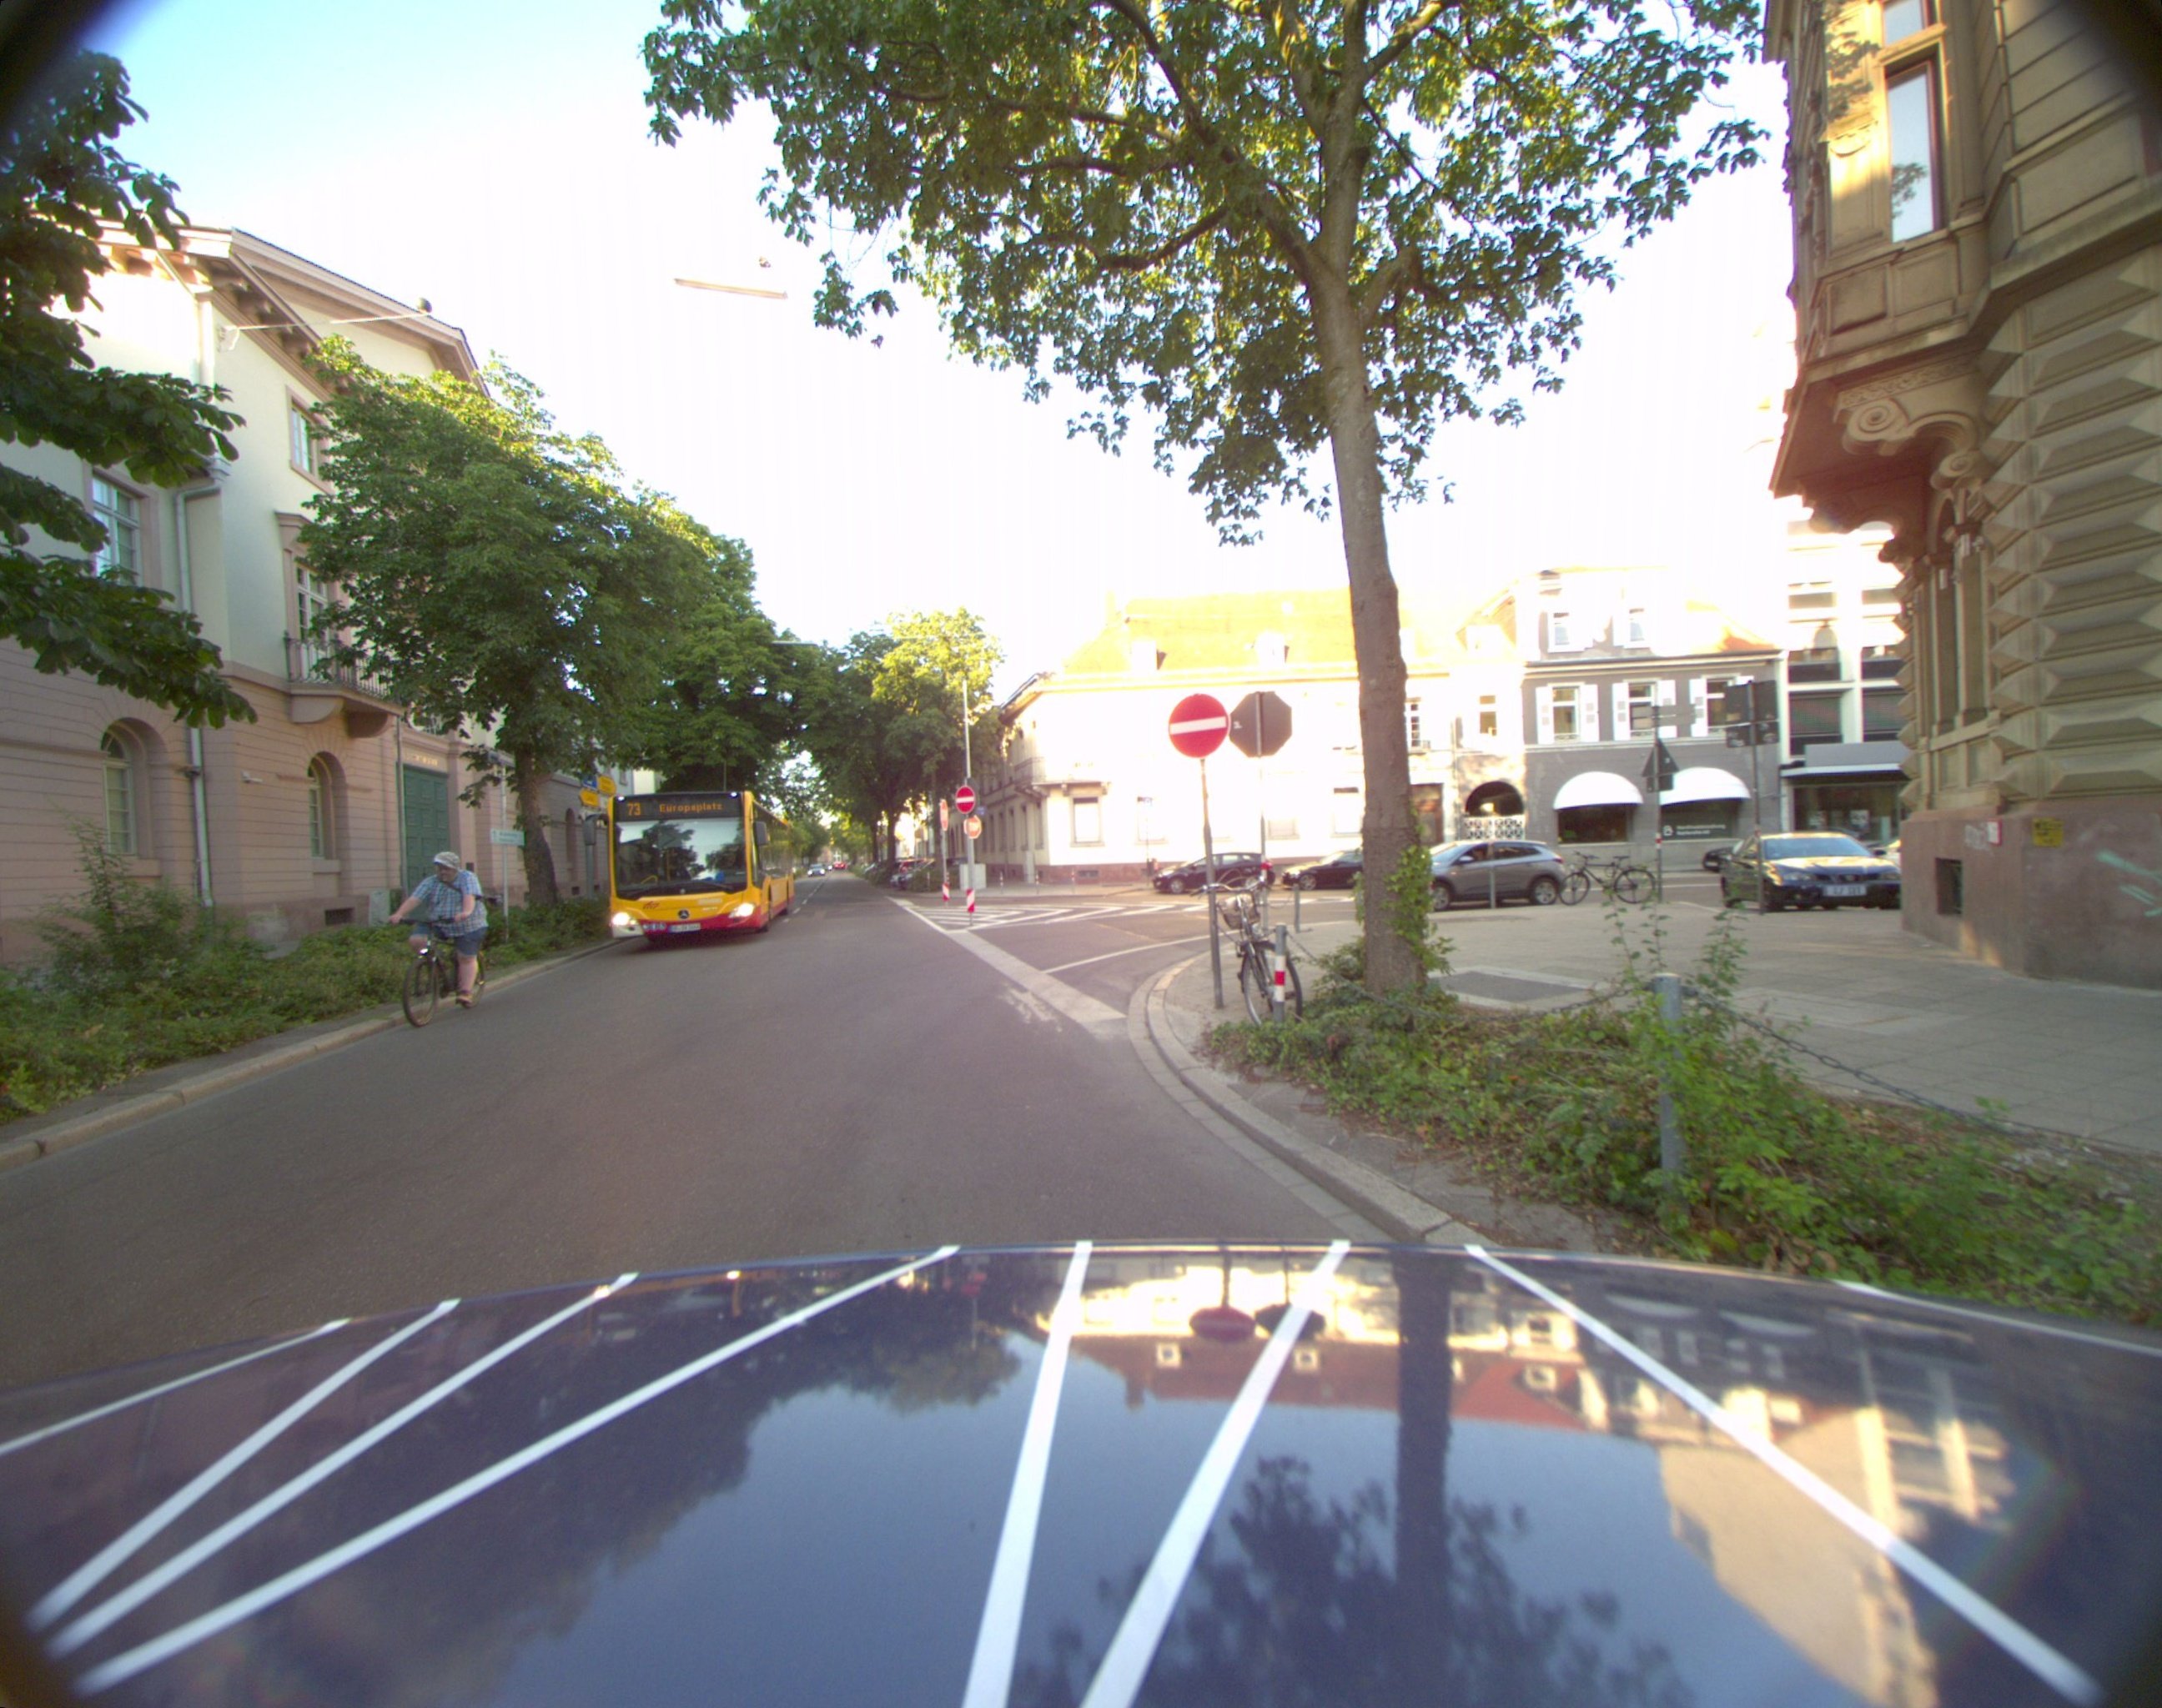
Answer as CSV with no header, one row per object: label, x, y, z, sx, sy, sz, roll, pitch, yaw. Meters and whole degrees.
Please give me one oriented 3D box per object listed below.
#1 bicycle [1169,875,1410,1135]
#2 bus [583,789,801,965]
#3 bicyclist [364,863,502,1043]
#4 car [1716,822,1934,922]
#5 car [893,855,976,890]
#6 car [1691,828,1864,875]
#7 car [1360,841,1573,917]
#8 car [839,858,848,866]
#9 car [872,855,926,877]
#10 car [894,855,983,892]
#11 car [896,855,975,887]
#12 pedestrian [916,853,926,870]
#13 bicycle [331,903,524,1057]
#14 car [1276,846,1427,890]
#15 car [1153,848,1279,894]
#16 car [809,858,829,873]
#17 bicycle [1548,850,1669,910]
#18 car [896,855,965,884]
bicycle,1.241,0.821,5.254,0.845,1.260,2.572,-2,0,-2
bus,-9.100,0.412,19.513,2.715,2.983,12.064,-4,1,-17
bicyclist,-7.167,1.045,8.457,0.784,1.829,0.825,-4,2,-18
car,12.657,0.347,13.234,1.736,1.452,3.872,-2,-3,29
car,-7.614,0.925,39.449,4.003,1.606,1.721,-2,1,-19
car,24.224,-0.091,26.550,4.244,1.438,1.748,-2,0,5
car,8.949,0.529,17.797,4.237,1.580,1.689,-1,1,-8
car,-52.055,1.838,166.603,1.830,1.687,3.994,-2,0,-17
car,-14.544,0.954,60.761,4.003,1.606,1.721,-2,1,-19
car,-6.994,0.916,37.125,4.003,1.606,1.826,-2,1,-19
car,-8.039,0.910,41.859,4.003,1.606,1.721,-2,1,-19
pedestrian,-16.409,0.775,77.986,0.896,1.760,1.020,-2,1,-18
bicycle,-7.157,1.295,8.484,0.784,1.322,2.075,-4,1,-18
car,9.723,0.518,27.615,4.851,1.386,1.780,-2,0,7
car,4.920,0.620,28.117,4.425,1.532,1.808,-2,0,5
car,-31.851,1.399,92.344,2.084,1.687,3.994,-2,0,-16
bicycle,10.505,0.523,15.207,1.800,1.119,0.729,-2,-2,14
car,-9.464,0.925,47.685,4.003,1.606,1.721,-2,1,-19
